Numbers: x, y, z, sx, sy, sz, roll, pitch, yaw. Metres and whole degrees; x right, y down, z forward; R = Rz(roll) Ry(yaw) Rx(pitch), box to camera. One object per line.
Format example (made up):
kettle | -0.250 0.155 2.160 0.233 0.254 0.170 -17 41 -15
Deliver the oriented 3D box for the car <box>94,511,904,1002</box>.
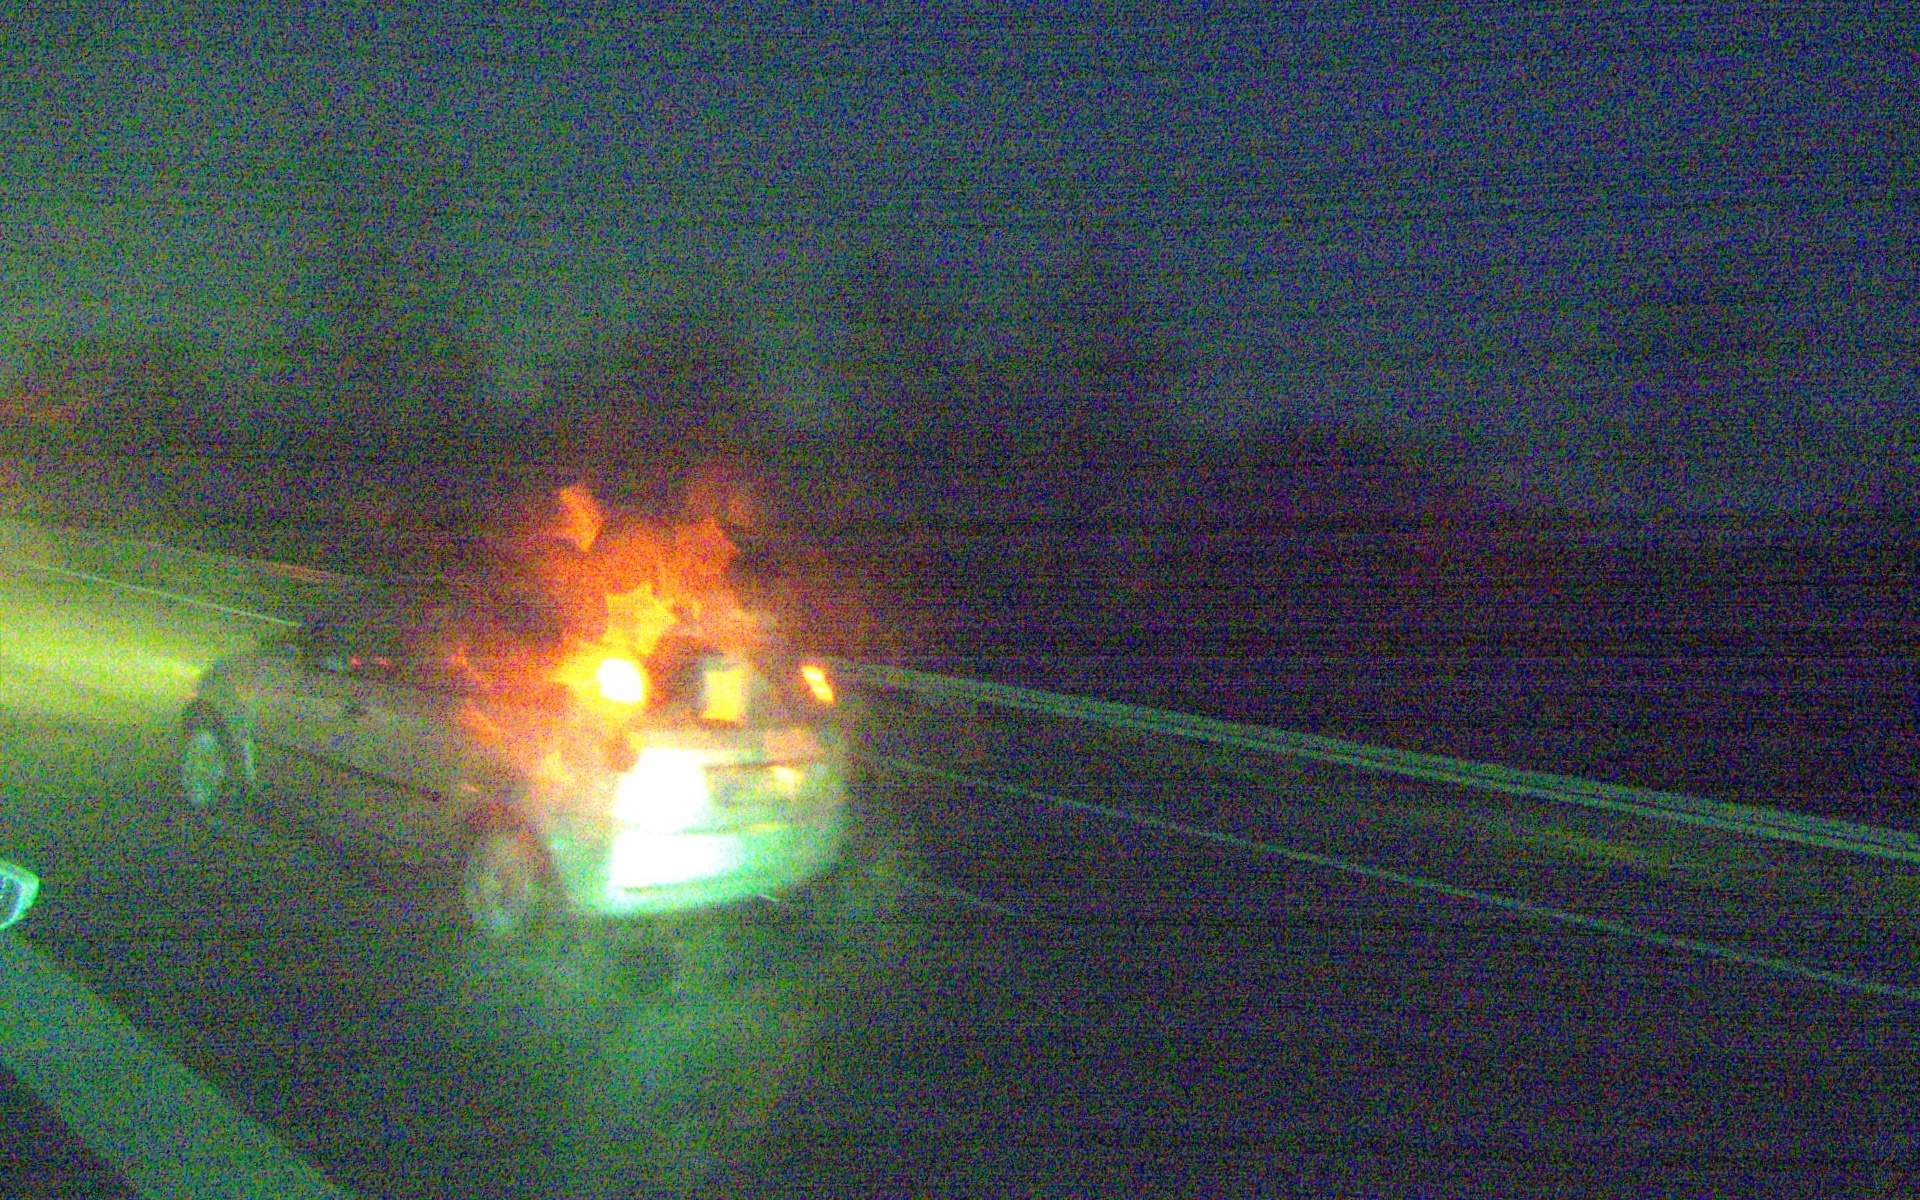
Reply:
car | -2.564 0.525 5.314 4.125 1.475 1.773 7 -1 31
